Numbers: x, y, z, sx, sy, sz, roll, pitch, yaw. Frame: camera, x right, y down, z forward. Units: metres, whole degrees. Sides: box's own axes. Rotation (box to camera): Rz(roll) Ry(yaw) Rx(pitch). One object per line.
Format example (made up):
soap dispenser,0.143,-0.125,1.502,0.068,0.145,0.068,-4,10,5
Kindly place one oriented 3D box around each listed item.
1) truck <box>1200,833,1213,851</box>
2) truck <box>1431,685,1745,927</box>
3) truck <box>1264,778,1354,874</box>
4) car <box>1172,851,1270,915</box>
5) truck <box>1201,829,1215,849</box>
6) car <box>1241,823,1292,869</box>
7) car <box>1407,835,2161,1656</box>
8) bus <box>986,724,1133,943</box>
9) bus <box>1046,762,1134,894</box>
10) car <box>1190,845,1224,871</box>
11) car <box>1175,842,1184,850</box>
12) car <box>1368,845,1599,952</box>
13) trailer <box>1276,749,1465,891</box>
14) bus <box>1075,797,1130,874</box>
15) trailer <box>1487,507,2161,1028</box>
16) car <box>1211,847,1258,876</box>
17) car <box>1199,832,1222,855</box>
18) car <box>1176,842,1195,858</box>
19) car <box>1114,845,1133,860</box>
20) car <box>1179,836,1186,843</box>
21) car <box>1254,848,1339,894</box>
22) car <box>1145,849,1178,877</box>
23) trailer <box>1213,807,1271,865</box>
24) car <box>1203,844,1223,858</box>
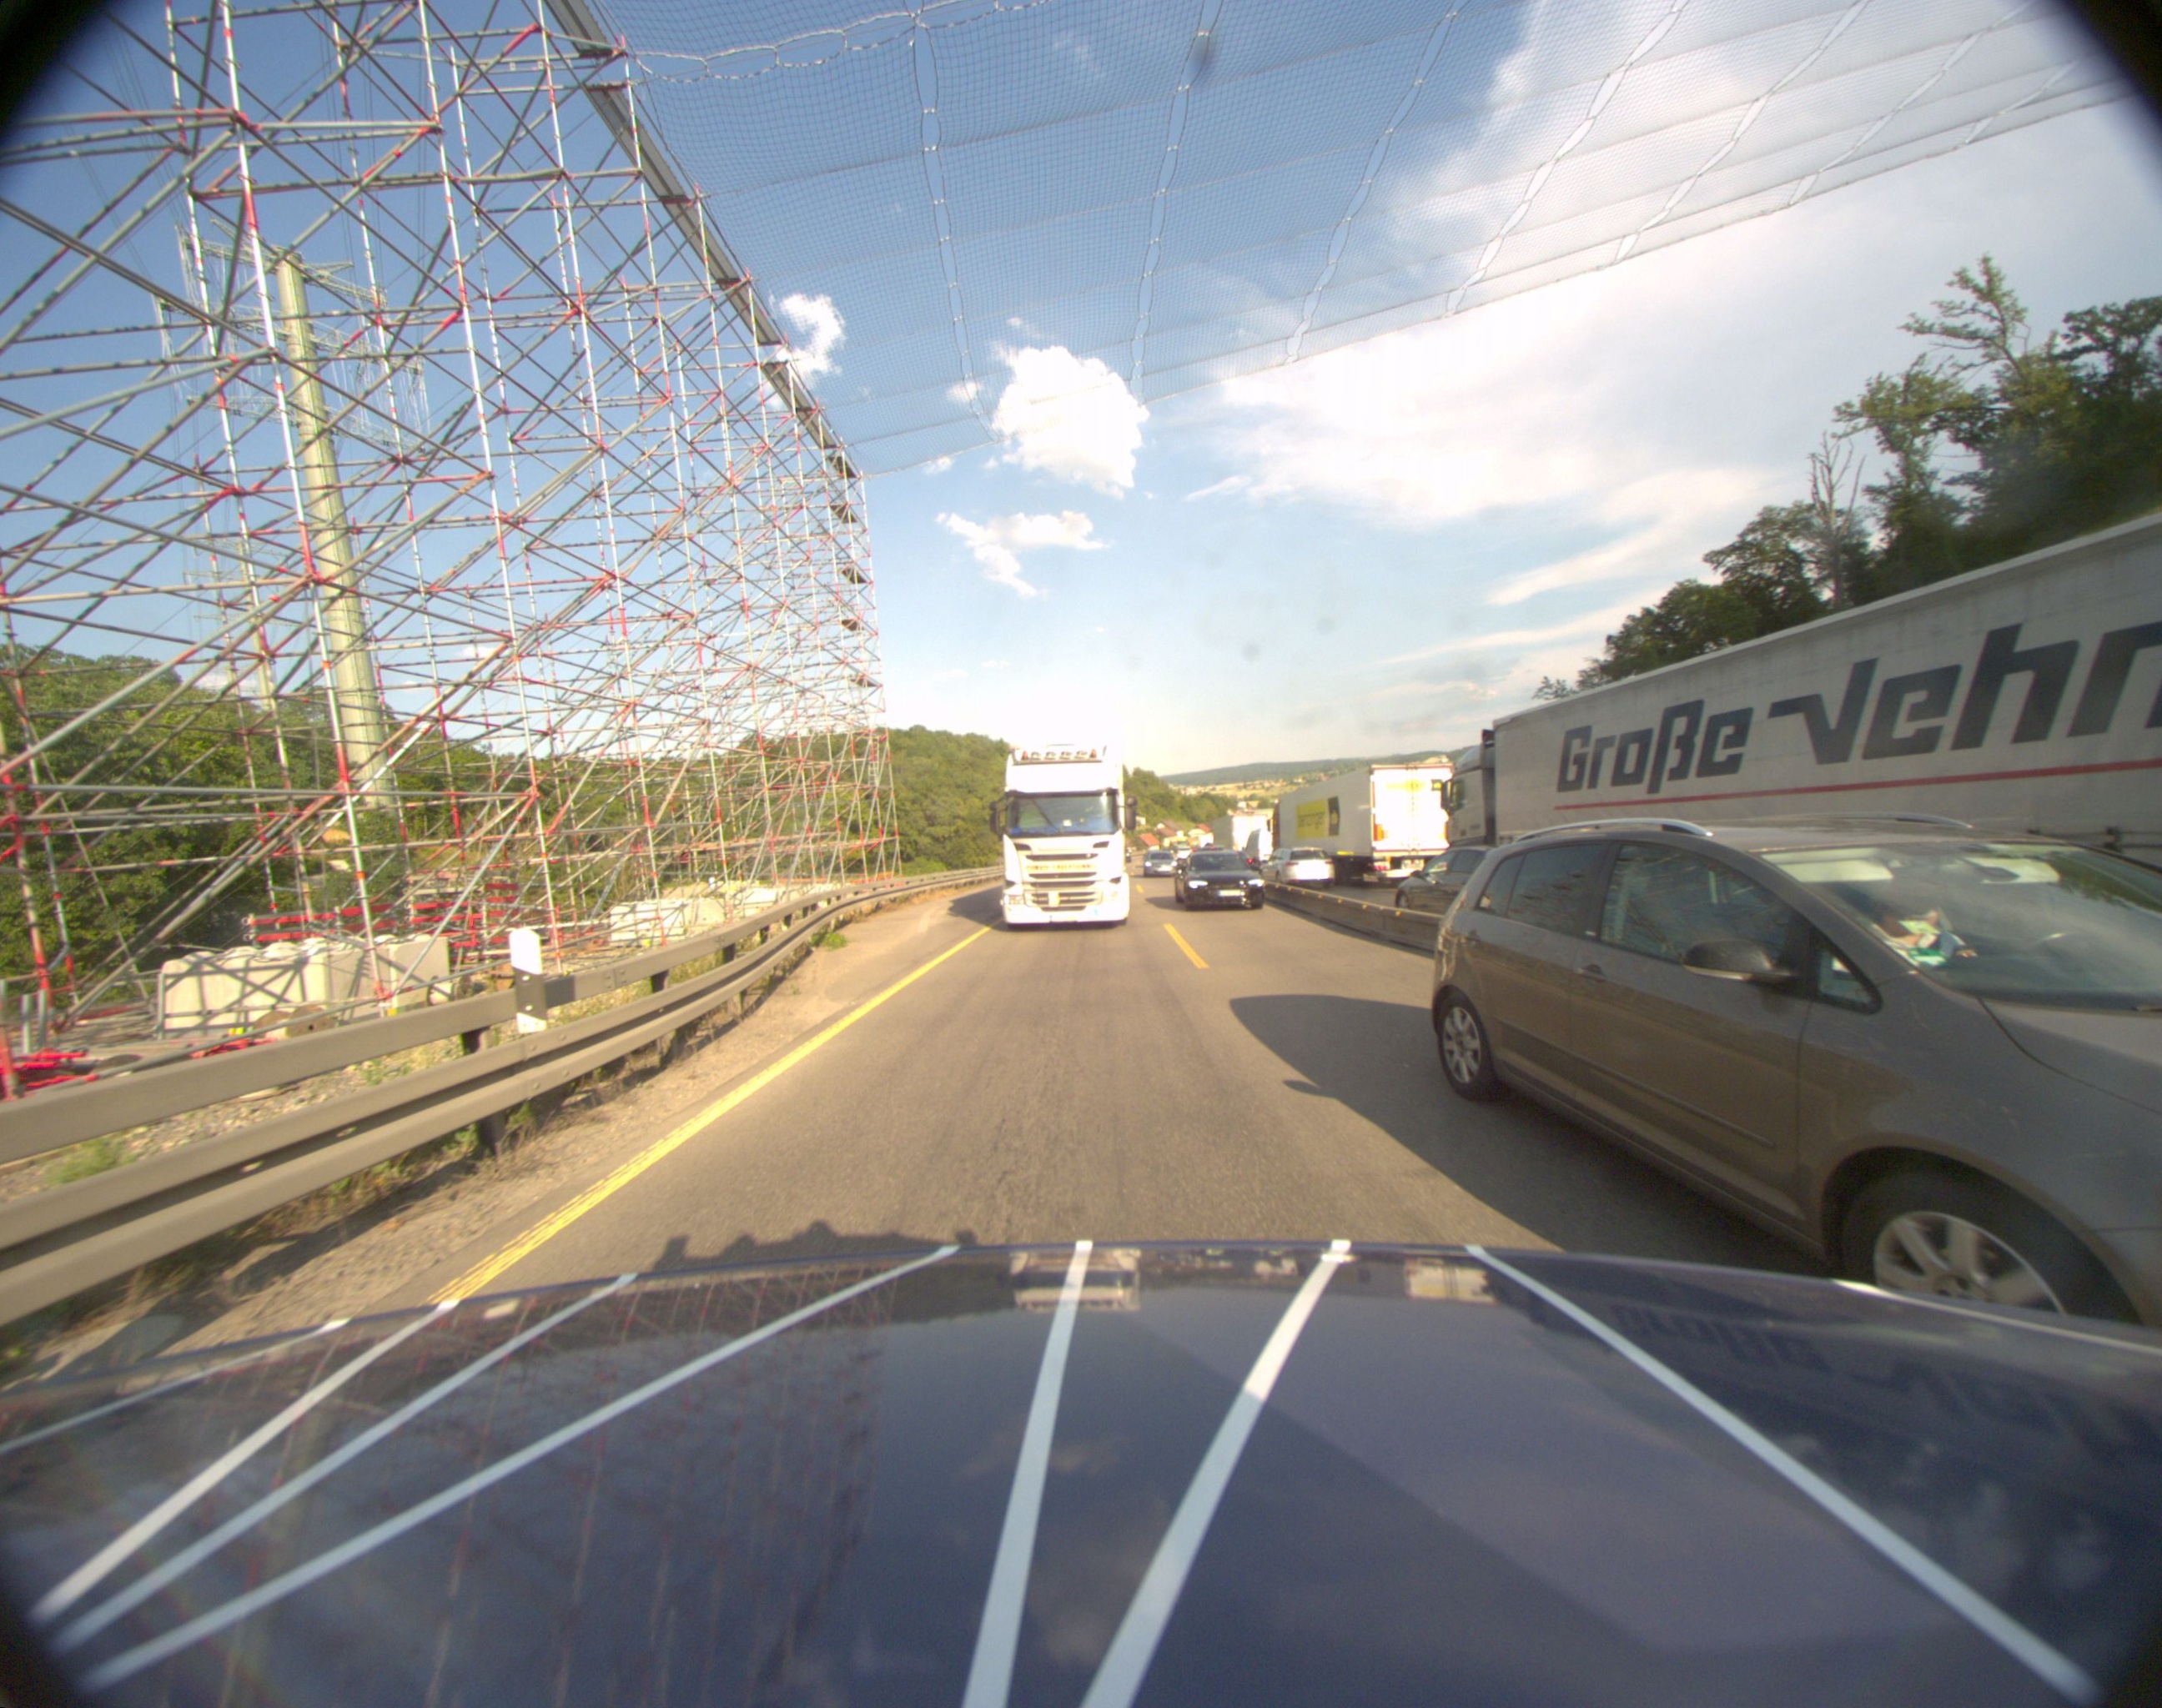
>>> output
truck,24.439,-2.355,148.308,2.452,3.443,7.621,-1,1,9
truck,10.207,-0.868,16.193,2.794,4.118,5.933,-2,1,1
truck,11.005,-1.300,37.245,2.751,4.275,5.933,-2,1,2
car,3.498,0.661,19.635,1.867,1.391,3.999,-1,1,1
truck,27.129,-3.165,162.245,2.712,4.065,14.161,-1,1,10
car,11.934,-0.493,49.382,2.026,2.674,6.951,-3,0,4
car,2.950,0.742,2.851,1.688,1.565,4.099,-2,1,0
bus,-0.023,-0.504,19.945,2.634,4.077,11.314,-1,1,4
bus,0.466,-0.939,31.594,2.985,4.553,9.967,-1,1,2
car,8.381,0.225,50.908,1.756,1.648,4.863,-1,1,3
car,20.013,-1.600,154.923,1.821,1.569,4.758,0,0,7
car,6.616,0.621,13.121,1.654,1.455,4.400,-3,1,1
trailer,10.721,-1.169,30.397,2.772,4.309,13.880,-2,1,2
bus,1.645,-1.169,51.540,2.984,4.553,10.906,-1,1,5
trailer,10.034,-0.766,9.436,2.806,4.117,13.965,-2,1,2
car,8.126,0.348,40.609,1.735,1.369,4.891,-3,1,4
car,16.906,-1.428,99.584,2.339,2.901,7.633,-1,1,5
car,11.488,-0.443,83.667,1.873,1.579,4.805,-3,1,6
car,4.863,-0.191,87.163,1.998,1.630,4.000,-2,1,1
car,28.404,-3.983,212.312,1.821,1.988,4.758,0,0,7
car,7.586,0.537,27.214,1.736,1.431,4.838,-3,0,1
car,4.460,0.461,42.116,1.698,1.390,4.002,-3,0,6
trailer,13.043,-1.460,62.762,2.727,4.194,13.750,-2,1,4
car,14.162,-0.367,81.646,1.747,1.452,4.715,-1,0,6
